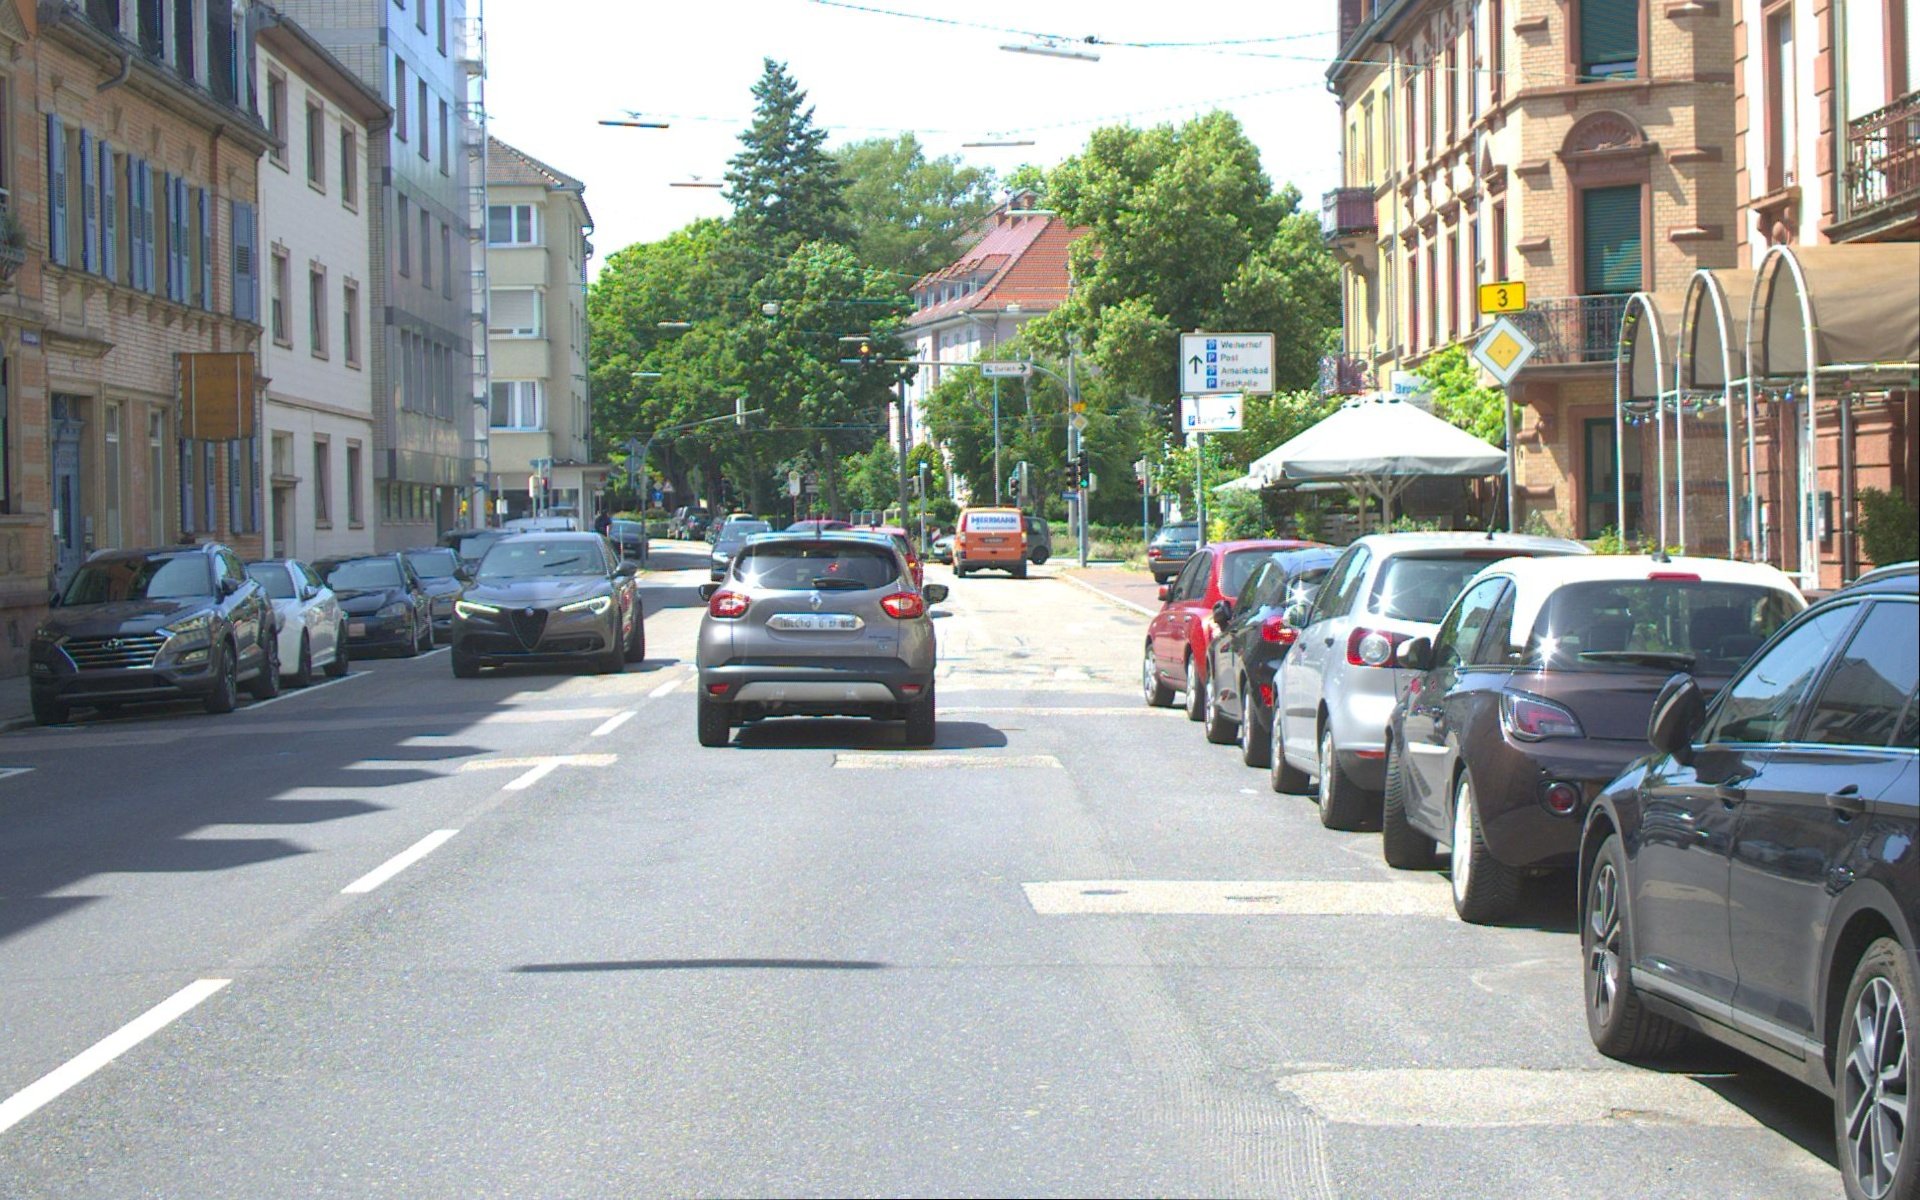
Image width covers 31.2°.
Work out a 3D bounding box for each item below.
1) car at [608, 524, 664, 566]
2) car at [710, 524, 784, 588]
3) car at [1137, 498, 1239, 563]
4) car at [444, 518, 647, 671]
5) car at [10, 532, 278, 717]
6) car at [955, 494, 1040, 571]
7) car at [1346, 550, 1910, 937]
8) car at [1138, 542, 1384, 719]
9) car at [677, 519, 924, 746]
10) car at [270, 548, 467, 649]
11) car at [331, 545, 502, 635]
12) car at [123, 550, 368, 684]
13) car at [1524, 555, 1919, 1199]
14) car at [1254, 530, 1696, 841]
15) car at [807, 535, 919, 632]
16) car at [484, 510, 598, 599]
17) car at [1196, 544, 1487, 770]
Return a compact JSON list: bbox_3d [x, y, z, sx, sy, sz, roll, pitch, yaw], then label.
[{"bbox_3d":[-12.703,-2.180,135.024,1.790,1.620,3.743,0,1,1],"label":"car"},{"bbox_3d":[-5.517,-1.168,89.385,1.790,1.620,3.743,0,1,-2],"label":"car"},{"bbox_3d":[5.617,-1.721,84.272,1.899,1.503,3.941,-1,1,13],"label":"car"},{"bbox_3d":[-4.779,-0.105,40.170,1.939,1.620,4.000,-2,1,-2],"label":"car"},{"bbox_3d":[-7.957,0.196,33.887,1.904,1.614,4.303,-3,1,-5],"label":"car"},{"bbox_3d":[1.059,-1.856,93.885,1.994,2.007,4.466,-1,1,4],"label":"car"},{"bbox_3d":[2.785,0.522,15.180,1.660,1.436,4.000,1,1,0],"label":"car"},{"bbox_3d":[2.553,0.217,29.835,1.611,1.438,3.437,0,1,-4],"label":"car"},{"bbox_3d":[-1.185,0.188,26.379,1.744,1.611,4.000,0,1,-2],"label":"car"},{"bbox_3d":[-8.165,-0.054,47.798,1.905,1.287,4.302,-1,1,1],"label":"car"},{"bbox_3d":[-8.356,-0.187,53.205,1.905,1.287,4.302,-1,1,1],"label":"car"},{"bbox_3d":[-8.130,0.153,39.501,1.904,1.352,4.303,-3,1,-1],"label":"car"},{"bbox_3d":[2.790,0.655,8.509,1.860,1.460,4.619,1,1,-2],"label":"car"},{"bbox_3d":[2.791,0.394,19.498,1.860,1.548,4.000,1,1,0],"label":"car"},{"bbox_3d":[-1.761,-0.318,61.288,1.812,1.615,4.442,-2,1,-3],"label":"car"},{"bbox_3d":[-9.001,-0.993,74.078,1.904,1.815,4.303,-1,1,0],"label":"car"},{"bbox_3d":[2.600,0.342,24.127,1.611,1.456,3.505,0,1,-1],"label":"car"}]
